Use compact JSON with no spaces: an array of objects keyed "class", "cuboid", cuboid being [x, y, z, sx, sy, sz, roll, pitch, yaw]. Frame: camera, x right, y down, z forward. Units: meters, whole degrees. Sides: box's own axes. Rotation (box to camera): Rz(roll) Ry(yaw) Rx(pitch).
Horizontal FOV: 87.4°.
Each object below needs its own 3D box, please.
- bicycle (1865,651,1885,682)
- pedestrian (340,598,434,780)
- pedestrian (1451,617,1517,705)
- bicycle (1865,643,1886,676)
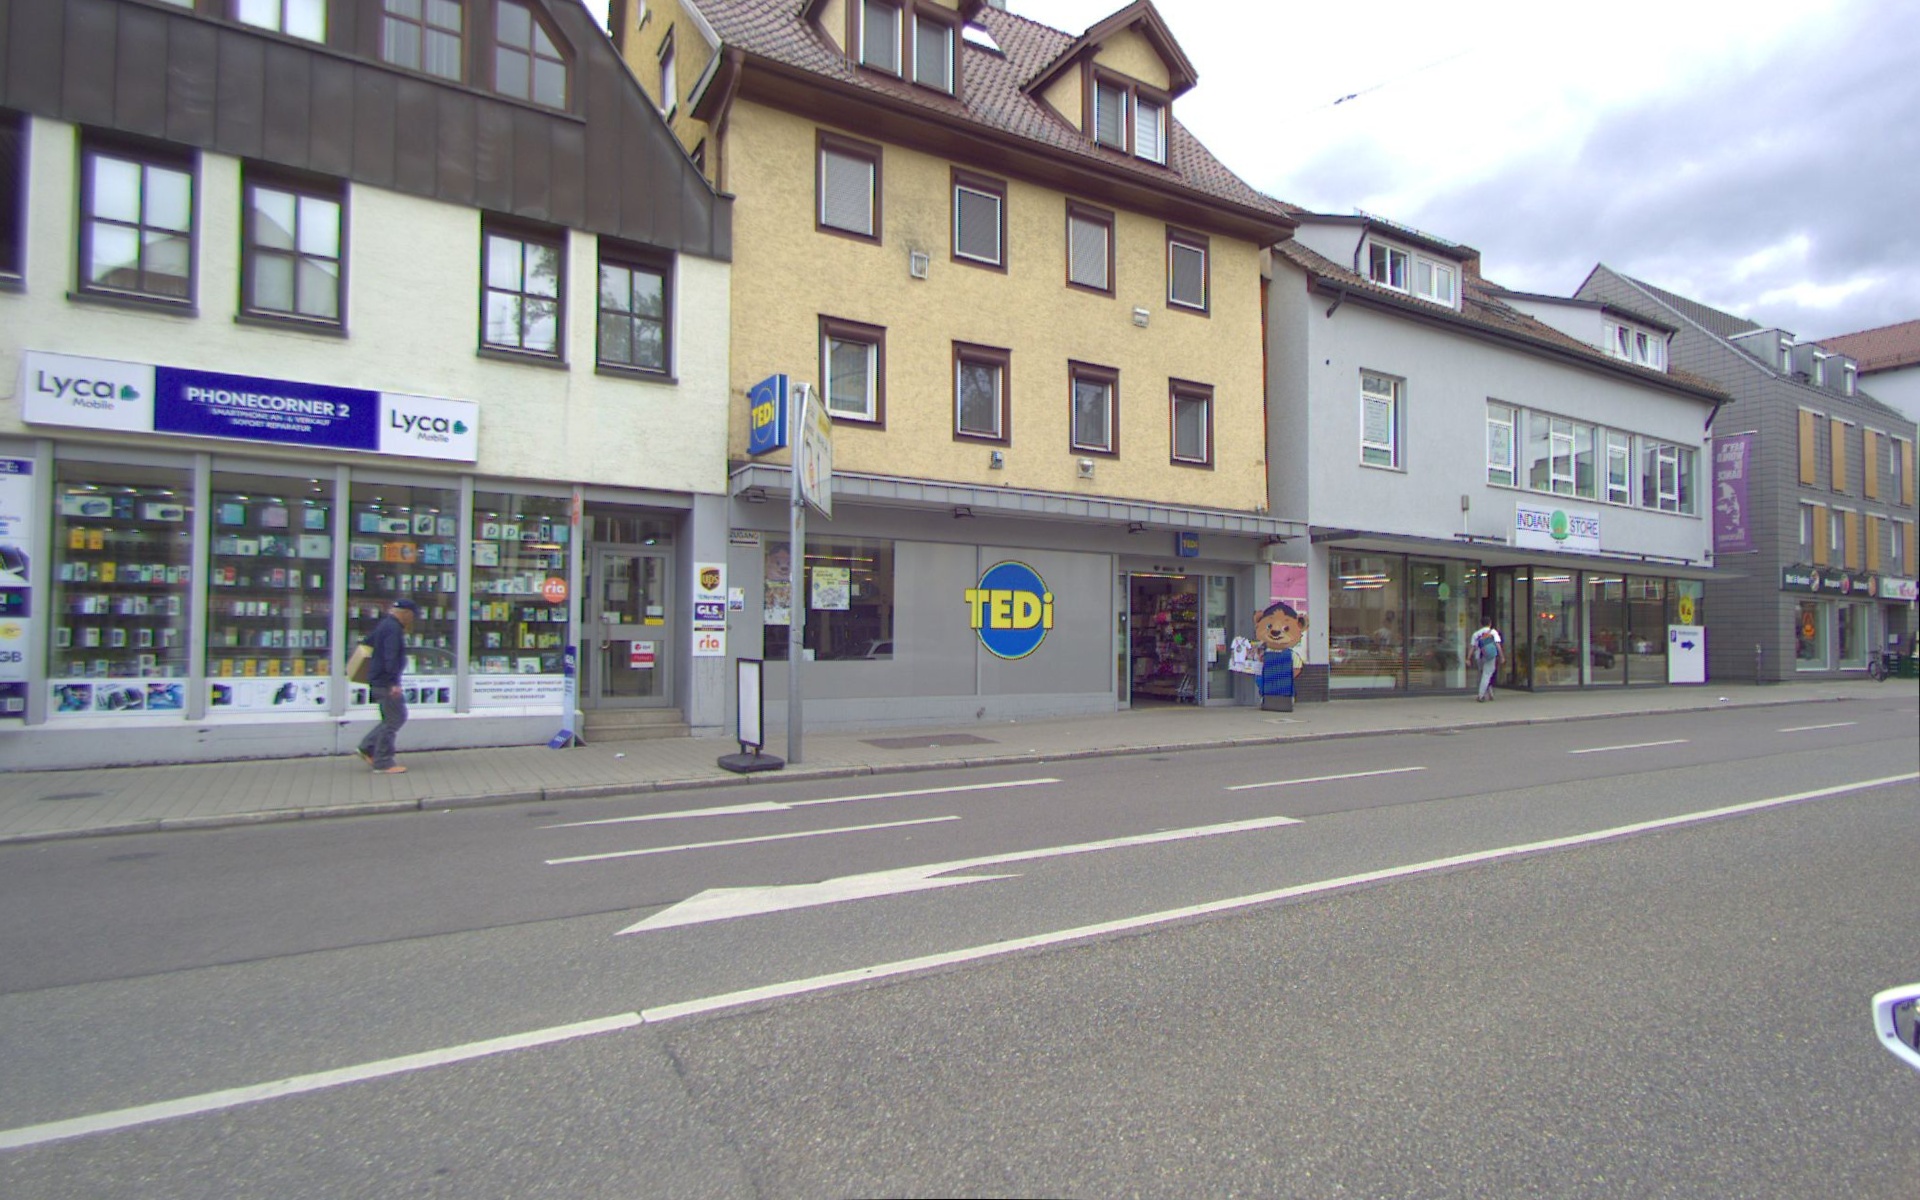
[{"class":"bicycle","cuboid":[29.583,2.134,32.475,1.472,0.966,0.323,2,-2,-42]},{"class":"pedestrian","cuboid":[-5.733,0.859,10.075,0.766,1.736,0.683,1,0,-30]},{"class":"pedestrian","cuboid":[10.741,1.226,20.579,0.969,1.728,0.750,1,1,-31]},{"class":"bicycle","cuboid":[32.650,2.108,35.821,1.280,1.142,0.383,2,-2,-41]}]
